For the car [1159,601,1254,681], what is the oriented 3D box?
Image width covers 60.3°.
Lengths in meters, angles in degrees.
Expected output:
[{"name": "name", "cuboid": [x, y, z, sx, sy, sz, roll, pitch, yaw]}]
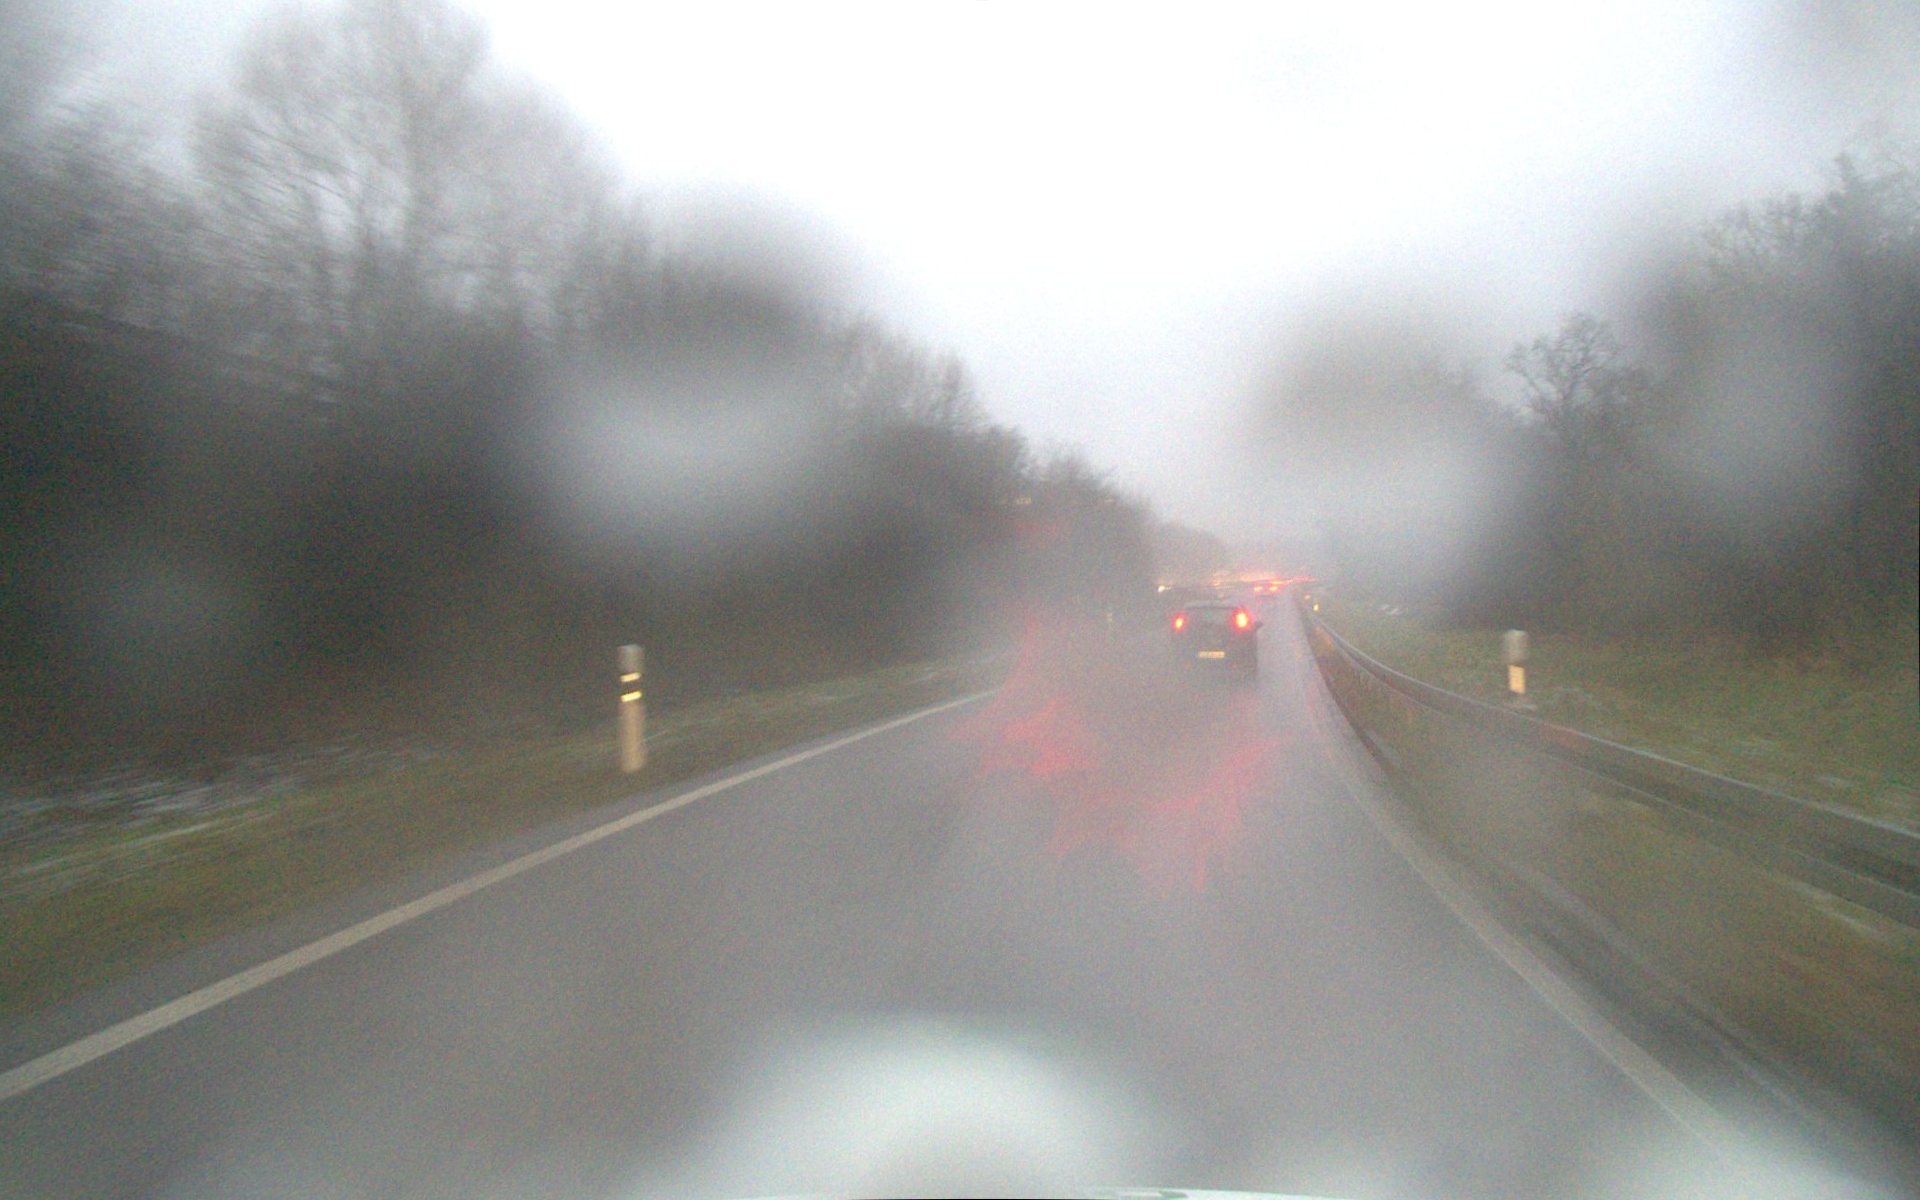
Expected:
[{"name": "car", "cuboid": [4.856, 0.765, 32.235, 1.695, 1.454, 3.768, -1, -1, 10]}]
